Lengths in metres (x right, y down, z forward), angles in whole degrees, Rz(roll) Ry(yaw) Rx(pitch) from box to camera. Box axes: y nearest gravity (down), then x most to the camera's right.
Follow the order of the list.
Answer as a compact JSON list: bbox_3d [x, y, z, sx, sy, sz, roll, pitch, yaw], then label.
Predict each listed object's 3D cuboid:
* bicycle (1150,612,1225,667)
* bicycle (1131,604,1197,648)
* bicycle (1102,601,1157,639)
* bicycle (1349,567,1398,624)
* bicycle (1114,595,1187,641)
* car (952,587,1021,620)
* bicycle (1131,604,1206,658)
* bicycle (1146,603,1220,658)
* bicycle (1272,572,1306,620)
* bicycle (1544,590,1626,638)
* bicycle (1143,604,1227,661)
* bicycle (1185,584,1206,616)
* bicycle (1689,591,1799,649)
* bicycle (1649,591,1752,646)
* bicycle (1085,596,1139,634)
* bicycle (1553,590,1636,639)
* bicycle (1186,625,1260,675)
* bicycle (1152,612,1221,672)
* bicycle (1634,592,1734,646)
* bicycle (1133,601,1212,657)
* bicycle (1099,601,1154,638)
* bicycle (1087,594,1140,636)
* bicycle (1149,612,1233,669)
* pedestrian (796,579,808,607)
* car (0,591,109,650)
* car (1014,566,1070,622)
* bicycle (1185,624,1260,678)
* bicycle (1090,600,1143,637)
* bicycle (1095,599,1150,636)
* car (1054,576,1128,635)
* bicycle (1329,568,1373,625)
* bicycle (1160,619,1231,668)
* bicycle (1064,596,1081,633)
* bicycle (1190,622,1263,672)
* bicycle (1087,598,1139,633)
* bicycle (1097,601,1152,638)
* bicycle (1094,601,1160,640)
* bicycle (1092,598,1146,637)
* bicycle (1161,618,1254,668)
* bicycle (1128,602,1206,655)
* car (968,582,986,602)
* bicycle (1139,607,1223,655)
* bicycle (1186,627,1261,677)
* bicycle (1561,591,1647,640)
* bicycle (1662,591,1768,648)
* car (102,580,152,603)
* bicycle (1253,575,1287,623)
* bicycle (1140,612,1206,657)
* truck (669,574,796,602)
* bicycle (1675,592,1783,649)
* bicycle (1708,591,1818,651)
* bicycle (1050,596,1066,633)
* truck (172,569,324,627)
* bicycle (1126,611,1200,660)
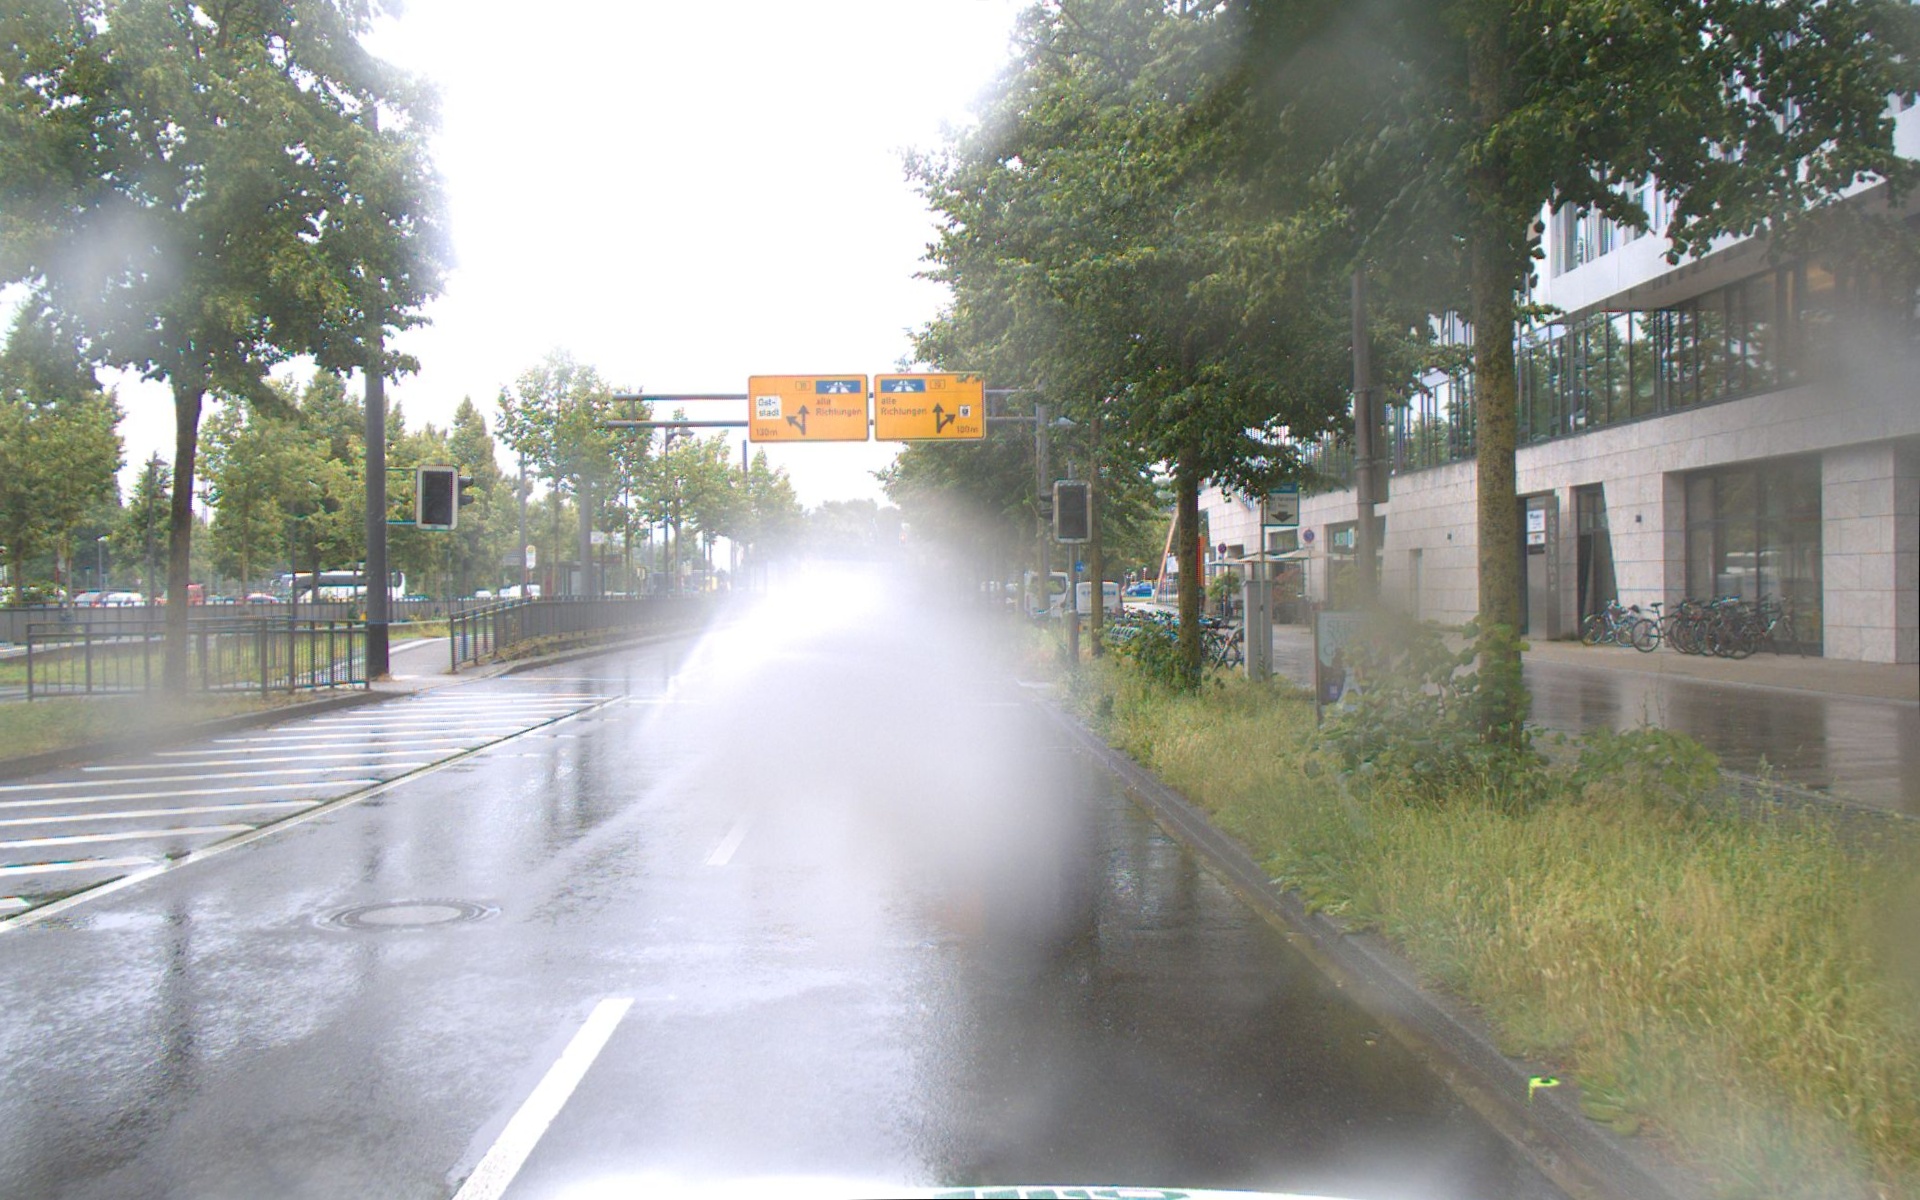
[{"bbox_3d":[4.393,0.764,31.931,1.408,1.035,0.349,-1,0,5],"label":"bicycle"},{"bbox_3d":[4.404,0.559,35.700,1.382,0.913,0.275,-1,0,-4],"label":"bicycle"},{"bbox_3d":[3.975,0.465,38.783,1.262,0.864,0.275,-1,0,-3],"label":"bicycle"},{"bbox_3d":[13.758,-0.172,55.136,0.756,1.752,3.120,-1,3,-2],"label":"bicycle"},{"bbox_3d":[4.360,0.402,37.797,1.610,1.006,0.320,-1,0,-3],"label":"bicycle"},{"bbox_3d":[1.398,0.149,89.162,1.799,1.571,3.953,-3,3,-34],"label":"car"},{"bbox_3d":[4.113,0.604,32.681,1.423,1.035,0.348,-1,0,-4],"label":"bicycle"},{"bbox_3d":[4.350,0.595,32.319,1.409,1.035,0.349,-1,0,3],"label":"bicycle"},{"bbox_3d":[12.972,-0.178,65.296,0.631,1.752,3.120,-1,3,-2],"label":"bicycle"},{"bbox_3d":[14.059,0.309,37.219,1.659,1.046,0.423,-1,0,0],"label":"bicycle"},{"bbox_3d":[4.555,0.653,33.496,1.674,1.122,0.283,-1,0,-9],"label":"bicycle"},{"bbox_3d":[12.403,-0.012,87.092,0.653,1.561,2.764,-1,3,-2],"label":"bicycle"},{"bbox_3d":[14.510,0.366,30.633,1.769,1.046,0.541,-1,0,0],"label":"bicycle"},{"bbox_3d":[14.533,0.364,32.499,1.769,1.046,0.541,-1,0,0],"label":"bicycle"},{"bbox_3d":[3.793,0.378,41.222,1.299,0.926,0.275,-1,0,-3],"label":"bicycle"},{"bbox_3d":[14.076,0.321,36.715,1.659,1.046,0.423,-1,0,0],"label":"bicycle"},{"bbox_3d":[4.634,0.881,29.161,1.261,0.864,0.275,-1,0,10],"label":"bicycle"},{"bbox_3d":[4.256,0.786,31.120,1.261,1.093,0.275,-1,0,6],"label":"bicycle"},{"bbox_3d":[14.548,0.375,33.255,1.769,1.046,0.541,-1,0,0],"label":"bicycle"},{"bbox_3d":[4.436,0.597,34.507,1.581,1.116,0.296,-1,0,-4],"label":"bicycle"},{"bbox_3d":[3.946,0.462,39.174,1.262,0.864,0.275,-1,0,-3],"label":"bicycle"},{"bbox_3d":[3.784,0.376,40.860,1.262,1.006,0.275,-1,0,-3],"label":"bicycle"},{"bbox_3d":[4.392,0.770,31.513,1.541,1.035,0.408,-1,0,5],"label":"bicycle"},{"bbox_3d":[-11.751,-0.555,122.715,0.683,2.048,0.656,0,2,13],"label":"pedestrian"},{"bbox_3d":[-27.037,0.567,48.199,1.912,1.635,5.496,-1,0,-4],"label":"car"},{"bbox_3d":[3.536,-0.276,72.202,2.078,2.313,4.563,-1,0,-2],"label":"car"},{"bbox_3d":[4.521,0.878,28.493,1.261,0.889,0.301,-1,0,10],"label":"bicycle"},{"bbox_3d":[3.831,0.450,40.556,1.262,0.864,0.275,-1,0,-3],"label":"bicycle"},{"bbox_3d":[3.913,0.415,39.874,1.262,0.864,0.275,-1,0,-3],"label":"bicycle"},{"bbox_3d":[4.201,0.147,53.817,1.868,1.822,4.686,-1,0,-2],"label":"car"},{"bbox_3d":[12.993,-0.155,55.047,0.631,1.752,3.120,-1,3,-2],"label":"bicycle"},{"bbox_3d":[4.313,0.798,30.327,1.261,0.864,0.275,-1,0,3],"label":"bicycle"},{"bbox_3d":[2.692,0.333,39.712,0.269,0.864,1.292,-1,0,-1],"label":"bicycle"},{"bbox_3d":[4.739,0.841,29.467,1.261,0.864,0.275,-1,0,10],"label":"bicycle"},{"bbox_3d":[3.839,0.389,41.563,1.262,0.864,0.275,-1,0,-3],"label":"bicycle"},{"bbox_3d":[3.925,0.459,39.520,1.262,0.864,0.354,-1,0,-3],"label":"bicycle"},{"bbox_3d":[3.885,0.469,38.475,1.492,0.864,0.277,-1,0,-3],"label":"bicycle"},{"bbox_3d":[3.860,0.422,40.216,1.262,0.935,0.275,-1,0,-3],"label":"bicycle"},{"bbox_3d":[4.487,0.777,30.005,1.637,0.864,0.275,-1,0,2],"label":"bicycle"},{"bbox_3d":[4.339,0.596,34.709,1.581,1.072,0.296,-1,0,-4],"label":"bicycle"},{"bbox_3d":[1.622,-0.742,154.645,1.590,1.729,3.458,-1,3,2],"label":"car"},{"bbox_3d":[4.518,0.637,33.824,1.674,0.964,0.313,0,0,-9],"label":"bicycle"},{"bbox_3d":[4.596,0.903,28.875,1.261,0.846,0.275,-1,0,10],"label":"bicycle"},{"bbox_3d":[14.072,0.343,36.171,1.714,1.046,0.412,-1,0,0],"label":"bicycle"},{"bbox_3d":[14.527,0.374,31.849,1.769,1.046,0.541,-1,0,0],"label":"bicycle"},{"bbox_3d":[-68.090,-0.700,135.221,3.488,1.768,1.692,-2,3,-26],"label":"car"},{"bbox_3d":[12.238,-0.073,65.282,0.631,1.752,3.120,-1,3,-2],"label":"bicycle"},{"bbox_3d":[4.243,0.683,33.021,1.263,0.864,0.275,-1,0,-4],"label":"bicycle"},{"bbox_3d":[-26.967,-1.415,196.452,14.646,3.202,3.501,0,0,-21],"label":"truck"},{"bbox_3d":[14.519,0.389,31.243,1.769,1.046,0.541,-1,0,0],"label":"bicycle"},{"bbox_3d":[14.524,0.376,29.933,1.769,1.046,0.401,-1,0,0],"label":"bicycle"},{"bbox_3d":[2.352,0.338,39.666,0.269,0.864,1.292,-1,0,-1],"label":"bicycle"},{"bbox_3d":[-64.208,-0.289,149.367,12.314,4.672,3.371,-2,3,-29],"label":"truck"},{"bbox_3d":[4.421,0.774,35.996,1.582,1.040,0.275,0,0,-3],"label":"bicycle"}]
